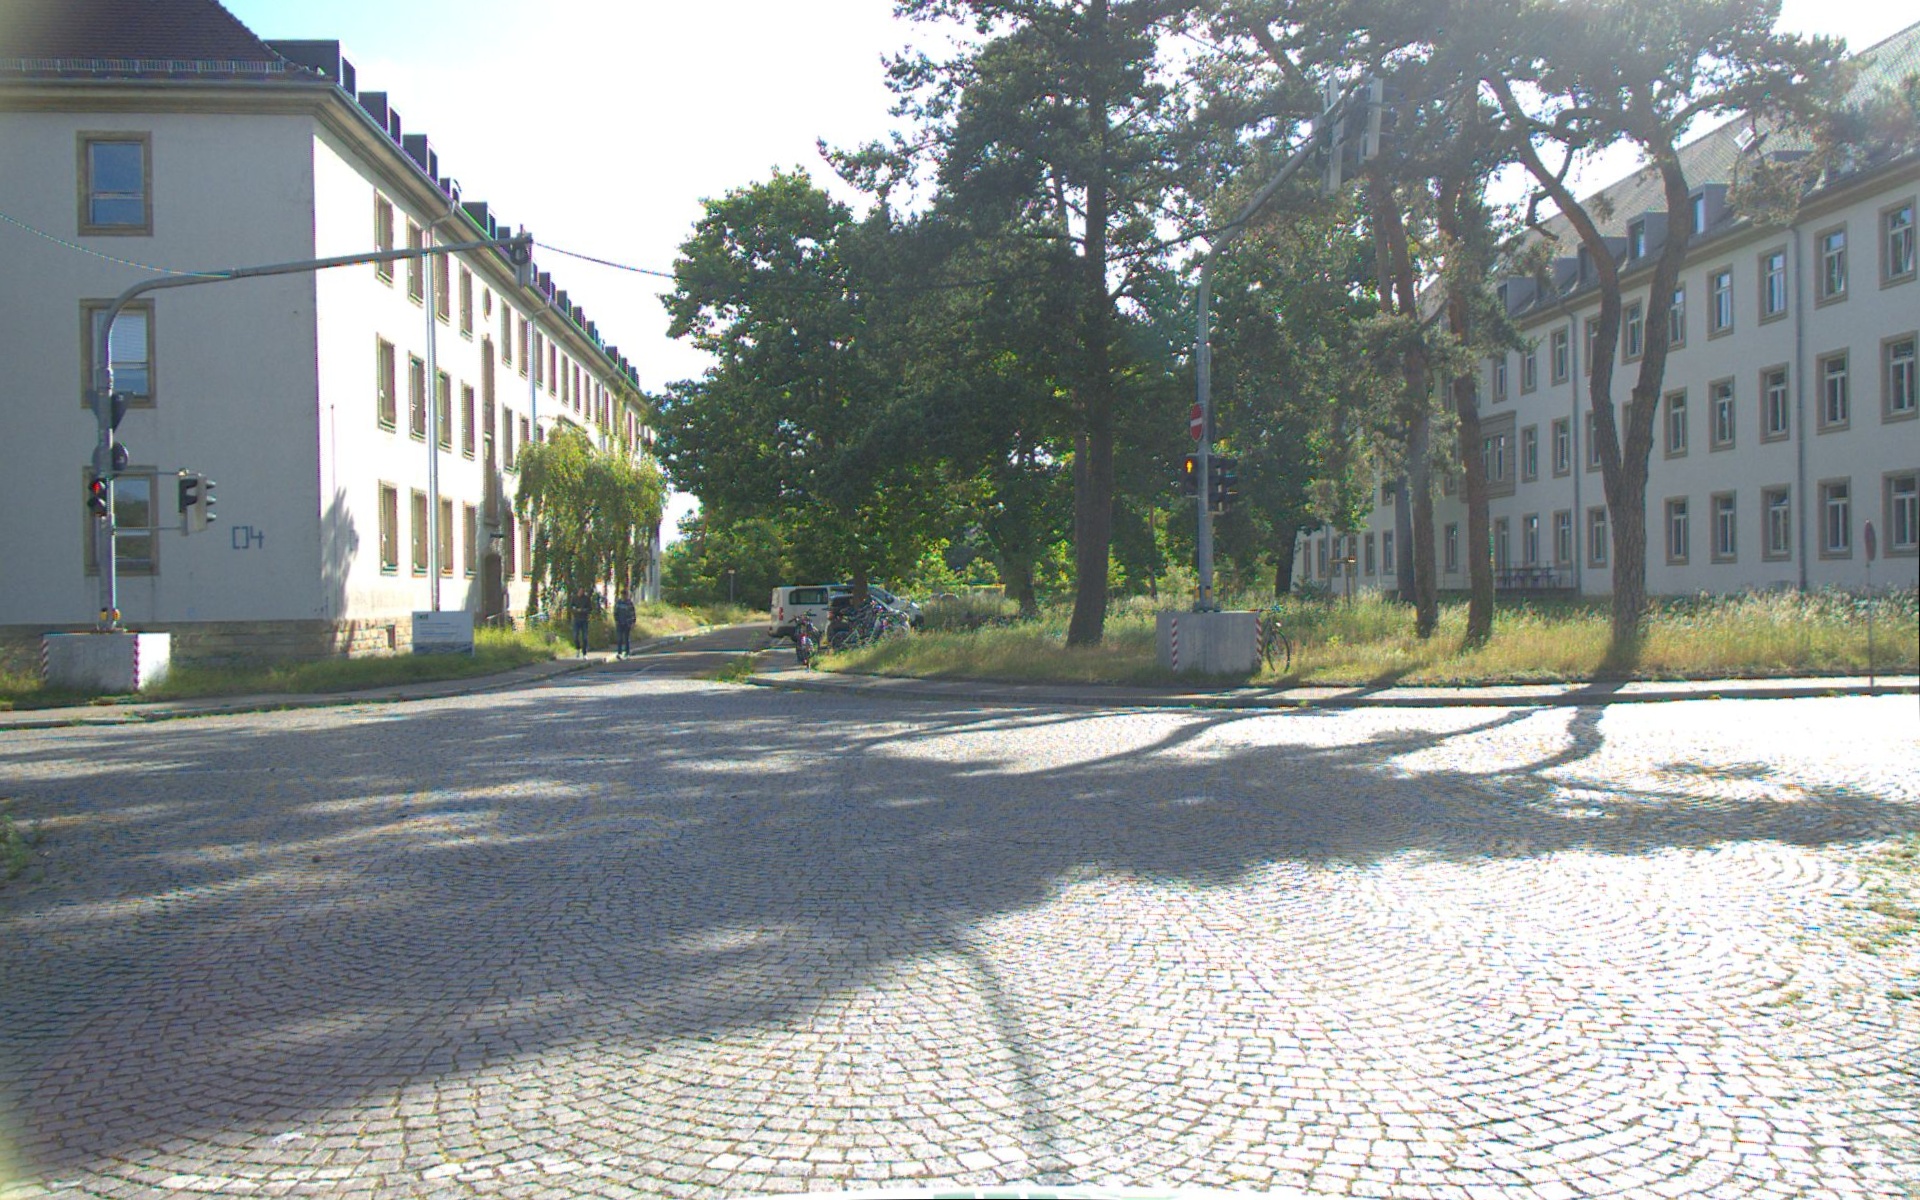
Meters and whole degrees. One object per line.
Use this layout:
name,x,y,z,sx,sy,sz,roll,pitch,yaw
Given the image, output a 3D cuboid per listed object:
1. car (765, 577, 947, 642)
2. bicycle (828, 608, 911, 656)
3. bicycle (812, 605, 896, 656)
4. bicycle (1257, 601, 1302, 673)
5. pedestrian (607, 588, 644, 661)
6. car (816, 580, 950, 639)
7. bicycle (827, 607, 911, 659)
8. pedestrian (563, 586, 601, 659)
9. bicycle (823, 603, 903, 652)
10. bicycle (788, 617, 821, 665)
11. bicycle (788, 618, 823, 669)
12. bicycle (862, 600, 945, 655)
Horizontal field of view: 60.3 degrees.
car,-3.535,0.297,55.668,5.825,2.049,2.468,-1,0,-11
bicycle,-2.068,0.726,37.653,1.819,1.049,0.749,-1,0,-8
bicycle,-2.540,0.724,39.632,1.921,1.149,0.641,-1,0,-32
bicycle,5.025,0.565,26.049,0.456,1.099,1.173,-1,0,-1
pedestrian,-8.664,0.629,42.879,0.751,1.849,0.683,-1,0,6
car,-2.402,0.278,51.396,3.917,1.713,1.842,-1,0,-12
bicycle,-2.124,0.768,38.447,1.904,1.149,0.749,-1,0,-8
pedestrian,-9.764,0.573,42.706,0.794,1.849,0.555,-1,0,6
bicycle,-2.398,0.672,40.742,1.905,1.149,0.646,-1,0,-10
bicycle,-3.387,0.880,35.998,0.682,0.988,1.858,0,0,-6
bicycle,-3.188,0.879,34.081,0.682,0.988,1.858,0,0,-6
bicycle,-1.343,0.638,39.209,1.904,1.257,0.484,-1,0,-8
